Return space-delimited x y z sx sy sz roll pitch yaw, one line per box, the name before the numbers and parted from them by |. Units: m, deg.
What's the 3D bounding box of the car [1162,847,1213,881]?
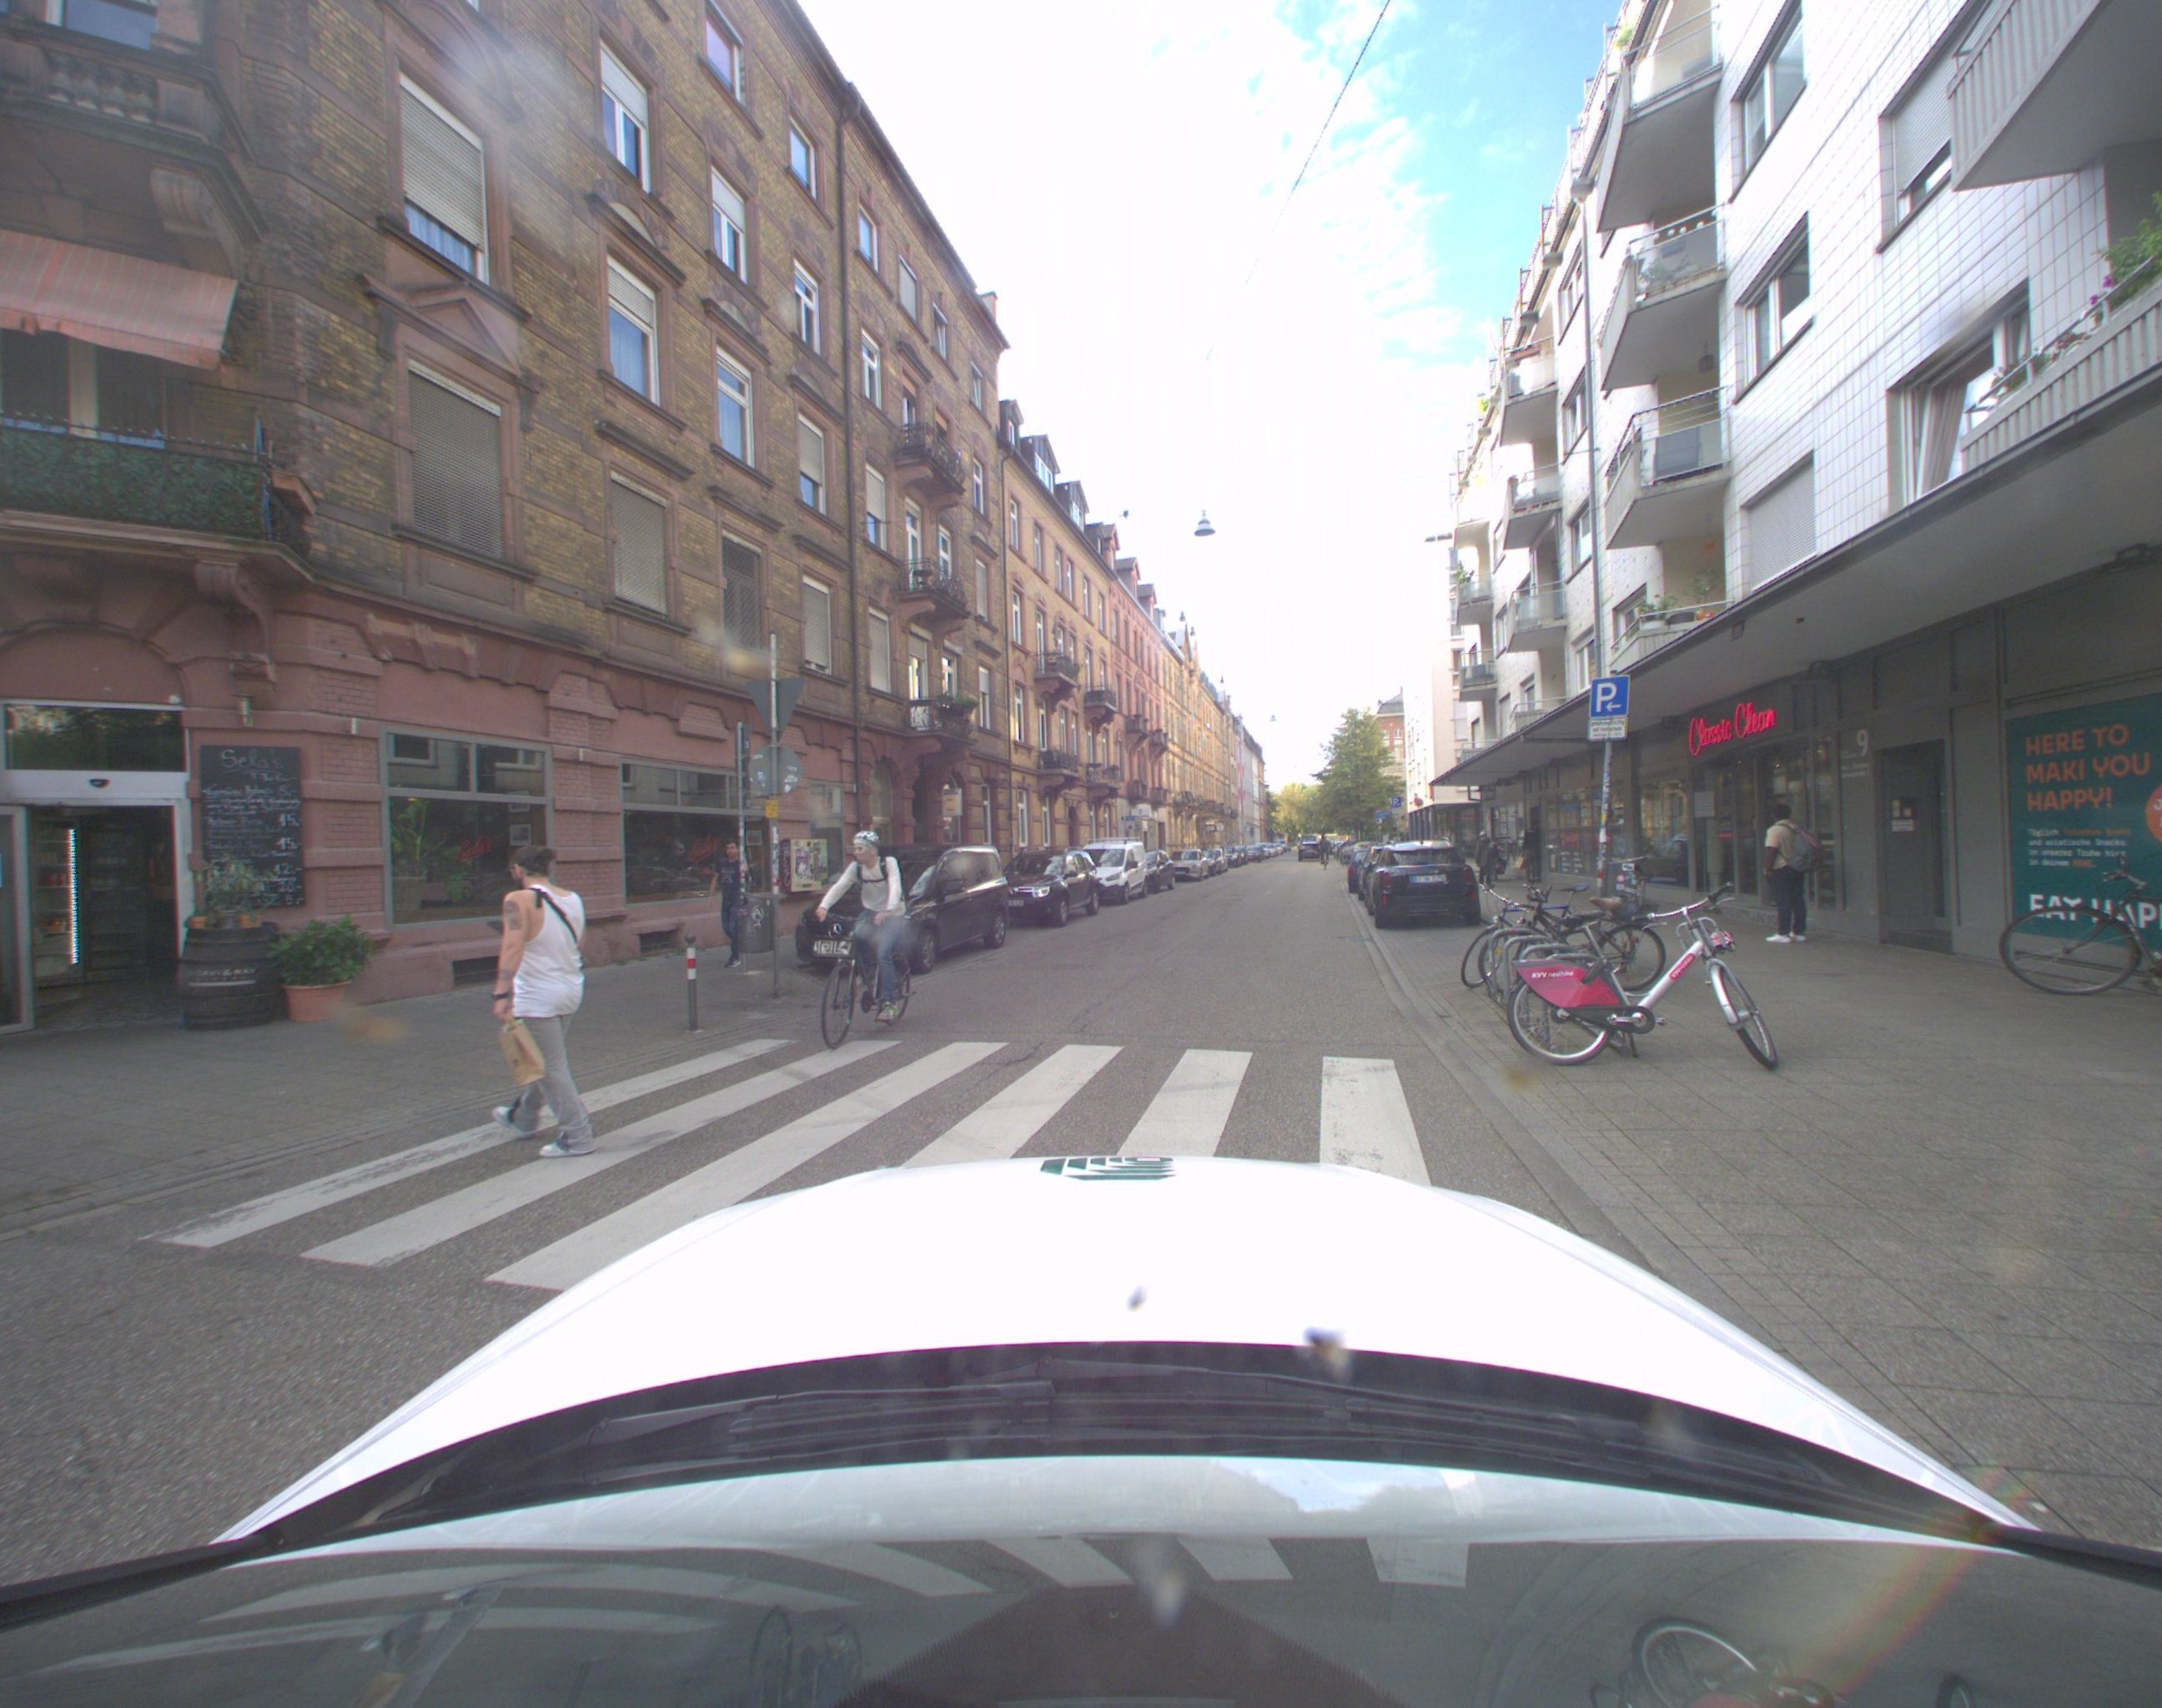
car | 5.096 0.425 38.549 1.728 1.483 4.001 0 1 17

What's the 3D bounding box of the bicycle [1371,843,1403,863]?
bicycle | 18.621 -0.063 49.635 1.751 1.087 0.653 -4 0 19

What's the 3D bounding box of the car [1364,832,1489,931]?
car | 6.637 0.447 16.044 1.778 1.605 3.942 -4 0 17

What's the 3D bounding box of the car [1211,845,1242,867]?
car | 10.035 0.122 56.038 1.677 1.386 3.884 0 1 17

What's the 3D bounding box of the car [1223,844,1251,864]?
car | 11.885 -0.010 61.918 1.677 1.437 3.884 0 1 17

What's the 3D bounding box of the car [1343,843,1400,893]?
car | 9.535 0.427 26.936 1.583 1.439 4.049 -3 0 18

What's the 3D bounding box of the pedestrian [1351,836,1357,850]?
pedestrian | 45.410 -1.859 135.456 0.987 2.230 0.903 -1 1 17

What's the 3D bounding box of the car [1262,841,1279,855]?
car | 22.228 -0.718 95.364 1.677 1.550 3.884 0 1 16

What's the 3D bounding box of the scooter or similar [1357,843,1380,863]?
scooter or similar | 17.201 -0.054 48.737 0.381 1.147 1.195 -5 1 -42

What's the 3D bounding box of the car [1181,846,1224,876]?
car | 6.522 0.318 43.441 1.728 1.483 4.001 0 1 17

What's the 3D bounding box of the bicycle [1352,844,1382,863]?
bicycle | 19.195 -0.055 54.633 1.779 1.159 0.503 -4 0 19

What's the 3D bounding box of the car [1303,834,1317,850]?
car | 29.796 -1.550 105.949 1.769 2.019 3.904 -1 1 16

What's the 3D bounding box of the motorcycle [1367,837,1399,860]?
motorcycle | 22.381 -0.404 60.298 2.132 1.530 0.690 -4 0 21

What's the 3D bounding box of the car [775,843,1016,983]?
car | -2.616 0.724 12.724 1.747 1.773 4.424 0 1 16

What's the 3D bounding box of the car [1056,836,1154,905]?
car | 0.849 0.428 24.760 1.905 1.871 4.456 -1 1 16

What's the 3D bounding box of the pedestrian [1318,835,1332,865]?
pedestrian | 13.514 -0.214 45.025 0.712 1.650 0.934 -1 1 17

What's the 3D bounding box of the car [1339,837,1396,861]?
car | 22.050 -0.382 62.774 3.741 1.546 1.734 -4 -1 6

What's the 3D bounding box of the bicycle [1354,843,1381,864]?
bicycle | 17.832 -0.030 50.643 1.485 1.146 0.413 -4 0 11

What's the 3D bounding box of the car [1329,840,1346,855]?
car | 29.963 -0.811 95.220 1.915 1.638 4.018 -1 1 17

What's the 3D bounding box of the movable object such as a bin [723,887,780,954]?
movable object such as a bin | -3.752 0.751 9.284 0.380 0.714 0.477 -1 1 12

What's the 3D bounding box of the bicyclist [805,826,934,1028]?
bicyclist | -1.888 0.629 7.421 0.697 1.678 1.115 -3 -2 8

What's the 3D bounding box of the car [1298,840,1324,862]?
car | 19.341 -0.277 68.503 1.949 1.740 4.059 -1 0 17

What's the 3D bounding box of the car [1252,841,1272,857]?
car | 18.619 -0.536 83.706 1.677 1.550 3.884 0 1 17

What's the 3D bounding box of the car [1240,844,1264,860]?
car | 15.065 -0.188 71.679 1.677 1.369 3.884 1 1 16

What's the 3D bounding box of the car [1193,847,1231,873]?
car | 7.627 0.312 47.341 1.677 1.386 3.884 0 1 17

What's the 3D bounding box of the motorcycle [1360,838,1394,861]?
motorcycle | 20.917 -0.307 57.598 2.132 1.434 0.769 -4 0 21

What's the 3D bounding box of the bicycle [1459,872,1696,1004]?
bicycle | 4.617 0.774 7.661 1.778 1.070 0.570 -4 0 6

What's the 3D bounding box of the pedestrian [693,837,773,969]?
pedestrian | -5.039 0.670 11.823 0.671 1.840 0.861 0 1 15

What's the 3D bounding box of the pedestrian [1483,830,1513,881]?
pedestrian | 13.491 0.038 26.363 0.638 1.588 0.784 -4 -1 18

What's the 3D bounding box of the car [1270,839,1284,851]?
car | 26.446 -1.187 109.694 1.677 1.550 3.884 0 1 16

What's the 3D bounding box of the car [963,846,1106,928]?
car | -0.913 0.666 18.724 1.978 1.638 4.163 -1 0 16

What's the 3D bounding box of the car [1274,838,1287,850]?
car | 30.728 -1.529 125.270 1.677 1.821 3.884 0 0 16

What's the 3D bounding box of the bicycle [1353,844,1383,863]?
bicycle | 18.682 -0.019 53.027 1.751 1.099 0.413 -4 0 19

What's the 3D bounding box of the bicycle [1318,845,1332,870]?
bicycle | 13.470 0.180 44.879 0.712 1.274 1.893 -1 1 18

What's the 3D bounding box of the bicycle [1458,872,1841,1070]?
bicycle | 3.698 0.768 5.525 1.869 1.125 0.911 -5 0 14

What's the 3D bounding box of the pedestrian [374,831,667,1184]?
pedestrian | -2.960 0.742 4.428 1.019 1.671 0.801 -2 0 -11

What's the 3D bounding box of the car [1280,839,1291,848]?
car | 35.145 -1.855 140.032 1.677 1.550 3.884 0 1 16

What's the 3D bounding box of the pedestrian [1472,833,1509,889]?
pedestrian | 11.883 0.198 23.660 0.817 1.588 0.784 -2 0 18

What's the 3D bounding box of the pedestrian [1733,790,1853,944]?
pedestrian | 8.598 0.155 9.876 0.708 1.746 0.820 -4 0 14

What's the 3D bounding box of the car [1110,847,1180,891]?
car | 2.402 0.526 29.684 1.728 1.483 4.000 0 0 16

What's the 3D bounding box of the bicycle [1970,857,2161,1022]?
bicycle | 7.641 0.569 5.907 0.736 1.015 1.791 -4 0 16

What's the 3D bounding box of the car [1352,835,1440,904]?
car | 8.102 0.362 21.235 1.675 1.577 3.918 -3 0 15

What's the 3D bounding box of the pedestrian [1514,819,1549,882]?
pedestrian | 13.443 -0.109 24.294 0.648 1.860 0.701 -2 0 -45

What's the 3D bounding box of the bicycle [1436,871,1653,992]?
bicycle | 4.666 0.775 8.290 1.778 1.070 0.588 -4 0 6

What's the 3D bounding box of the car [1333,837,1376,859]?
car | 27.819 -0.635 82.718 3.953 1.683 1.747 -4 8 20

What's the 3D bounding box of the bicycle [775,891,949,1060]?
bicycle | -1.876 0.994 7.361 0.697 1.220 2.121 -3 -1 8

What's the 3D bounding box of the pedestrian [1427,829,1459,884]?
pedestrian | 11.781 0.067 26.511 0.608 1.726 1.130 -5 0 11
